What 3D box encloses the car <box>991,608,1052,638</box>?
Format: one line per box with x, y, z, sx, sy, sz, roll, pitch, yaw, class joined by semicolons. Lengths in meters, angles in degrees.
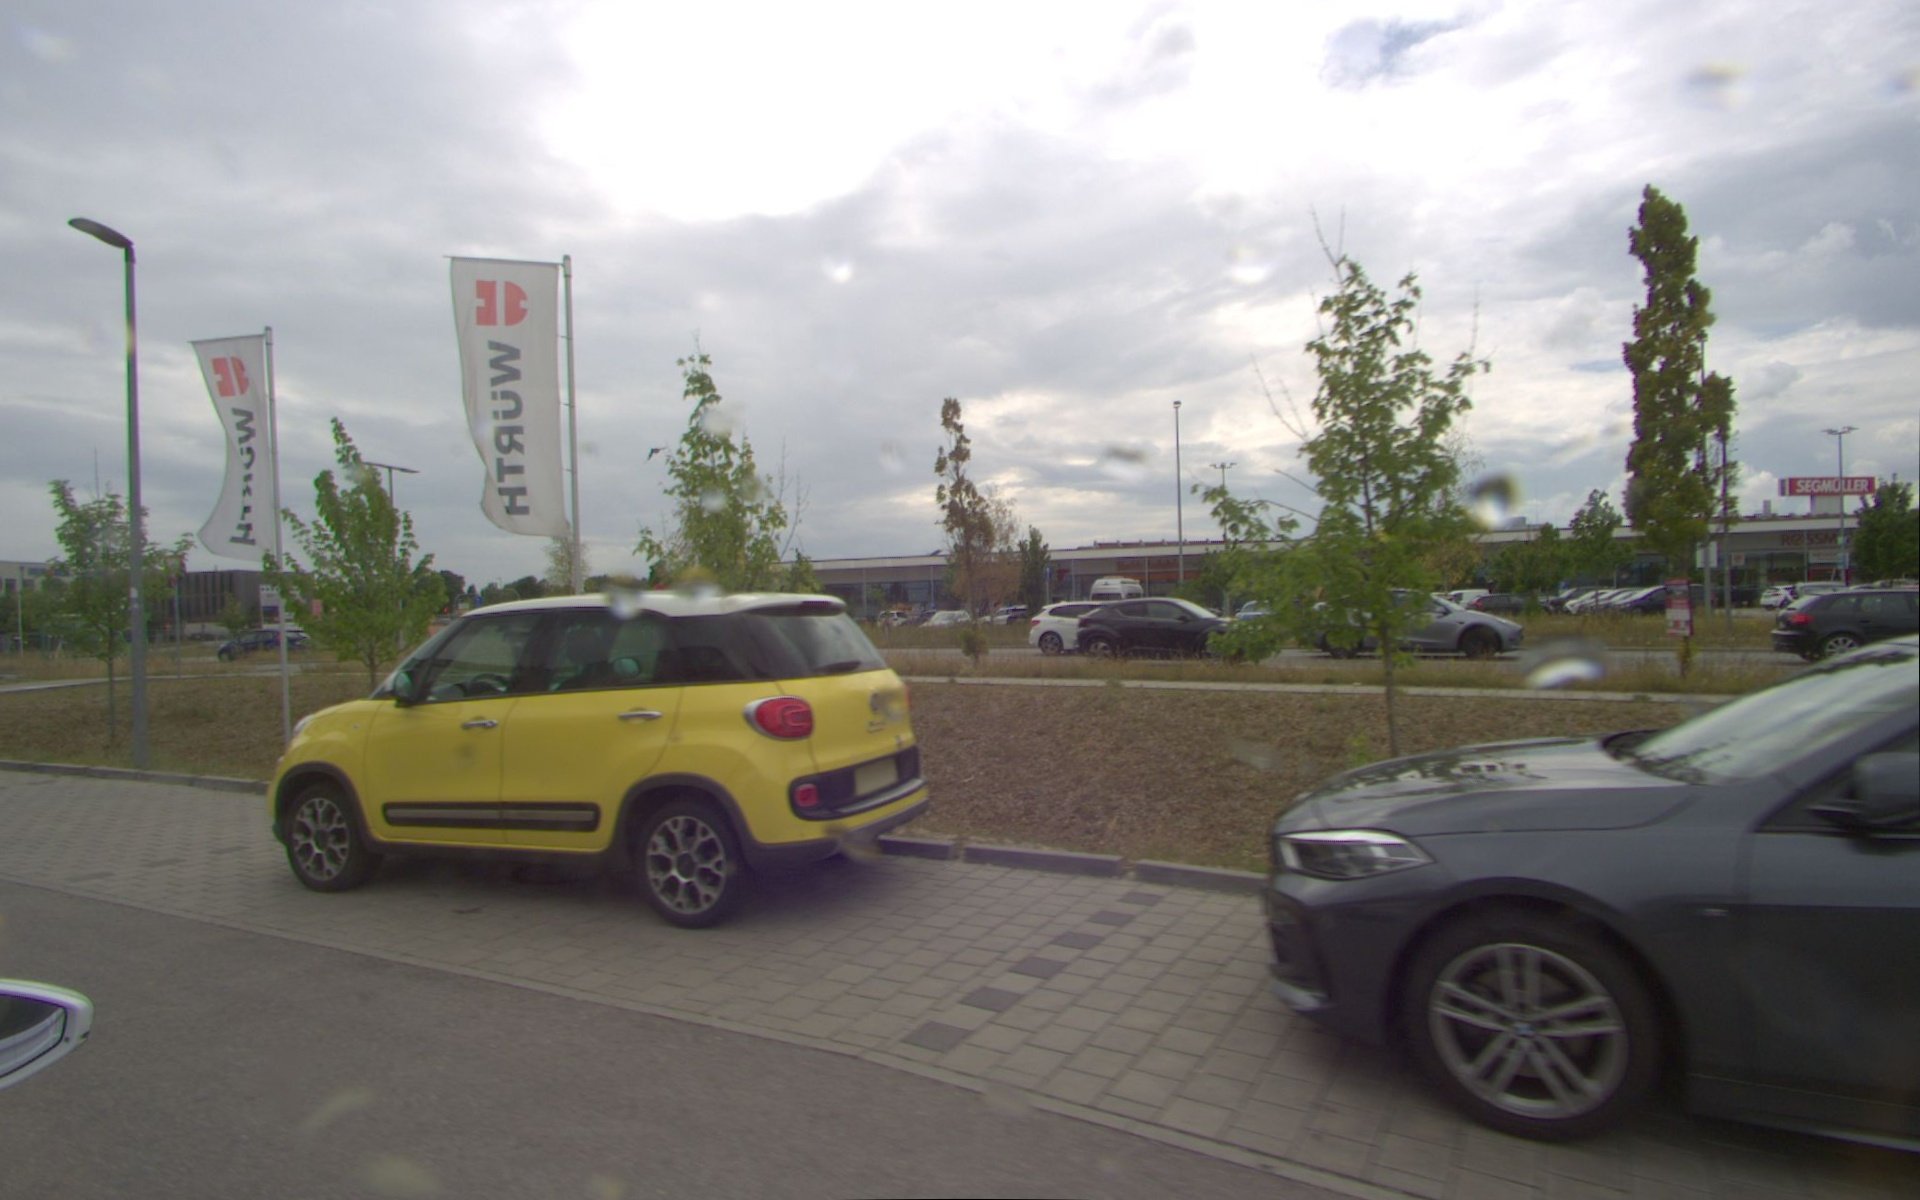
3.252;1.182;52.311;1.961;1.470;4.140;-1;-1;22;car

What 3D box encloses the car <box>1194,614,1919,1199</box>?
3.017;0.758;2.918;4.240;1.434;1.746;-1;-1;29;car

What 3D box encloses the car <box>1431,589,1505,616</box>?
32.729;0.186;64.608;3.925;1.661;1.875;-1;0;13;car

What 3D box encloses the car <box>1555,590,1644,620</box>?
37.118;0.280;58.183;3.925;1.661;1.875;-1;0;13;car

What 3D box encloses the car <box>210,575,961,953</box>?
-2.279;0.797;6.119;4.225;1.705;1.749;-1;-1;22;car

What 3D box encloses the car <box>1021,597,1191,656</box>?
3.944;0.720;27.107;4.181;1.469;1.795;-2;-1;26;car

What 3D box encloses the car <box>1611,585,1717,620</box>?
35.124;0.135;50.057;3.925;1.661;1.875;-1;0;13;car

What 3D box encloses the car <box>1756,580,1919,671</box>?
17.482;0.441;18.329;4.270;1.589;1.900;-1;0;29;car

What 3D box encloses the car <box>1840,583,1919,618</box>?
46.958;0.008;50.123;3.925;1.661;1.875;-1;0;13;car

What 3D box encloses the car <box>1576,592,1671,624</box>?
36.491;0.433;55.156;3.925;1.661;1.875;-1;0;13;car

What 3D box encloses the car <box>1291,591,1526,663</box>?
10.318;0.596;23.208;4.808;1.528;1.803;-1;0;28;car

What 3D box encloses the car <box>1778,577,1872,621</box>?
31.409;-0.012;36.486;1.751;1.495;3.983;-1;0;28;car

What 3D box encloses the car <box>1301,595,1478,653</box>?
11.645;0.661;27.216;4.203;1.475;1.990;-2;-1;31;car

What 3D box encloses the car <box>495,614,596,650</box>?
-18.899;1.435;45.852;1.767;1.486;4.309;-1;0;22;car

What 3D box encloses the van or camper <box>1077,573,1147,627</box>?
7.525;0.028;49.355;2.255;2.525;3.984;-1;0;27;van or camper

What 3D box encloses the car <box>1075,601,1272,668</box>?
4.716;0.740;22.187;3.940;1.372;1.752;-1;0;29;car

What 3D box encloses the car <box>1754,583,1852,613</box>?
48.868;-0.120;58.124;3.925;1.661;1.875;-1;0;13;car

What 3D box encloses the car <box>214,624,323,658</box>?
-29.821;1.766;43.191;3.926;1.341;1.718;-1;0;14;car

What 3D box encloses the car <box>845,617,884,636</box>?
-8.007;2.198;84.503;1.878;1.462;3.994;-2;-1;16;car

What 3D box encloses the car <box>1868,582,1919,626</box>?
33.688;0.125;35.165;1.751;1.495;3.983;-1;0;28;car
